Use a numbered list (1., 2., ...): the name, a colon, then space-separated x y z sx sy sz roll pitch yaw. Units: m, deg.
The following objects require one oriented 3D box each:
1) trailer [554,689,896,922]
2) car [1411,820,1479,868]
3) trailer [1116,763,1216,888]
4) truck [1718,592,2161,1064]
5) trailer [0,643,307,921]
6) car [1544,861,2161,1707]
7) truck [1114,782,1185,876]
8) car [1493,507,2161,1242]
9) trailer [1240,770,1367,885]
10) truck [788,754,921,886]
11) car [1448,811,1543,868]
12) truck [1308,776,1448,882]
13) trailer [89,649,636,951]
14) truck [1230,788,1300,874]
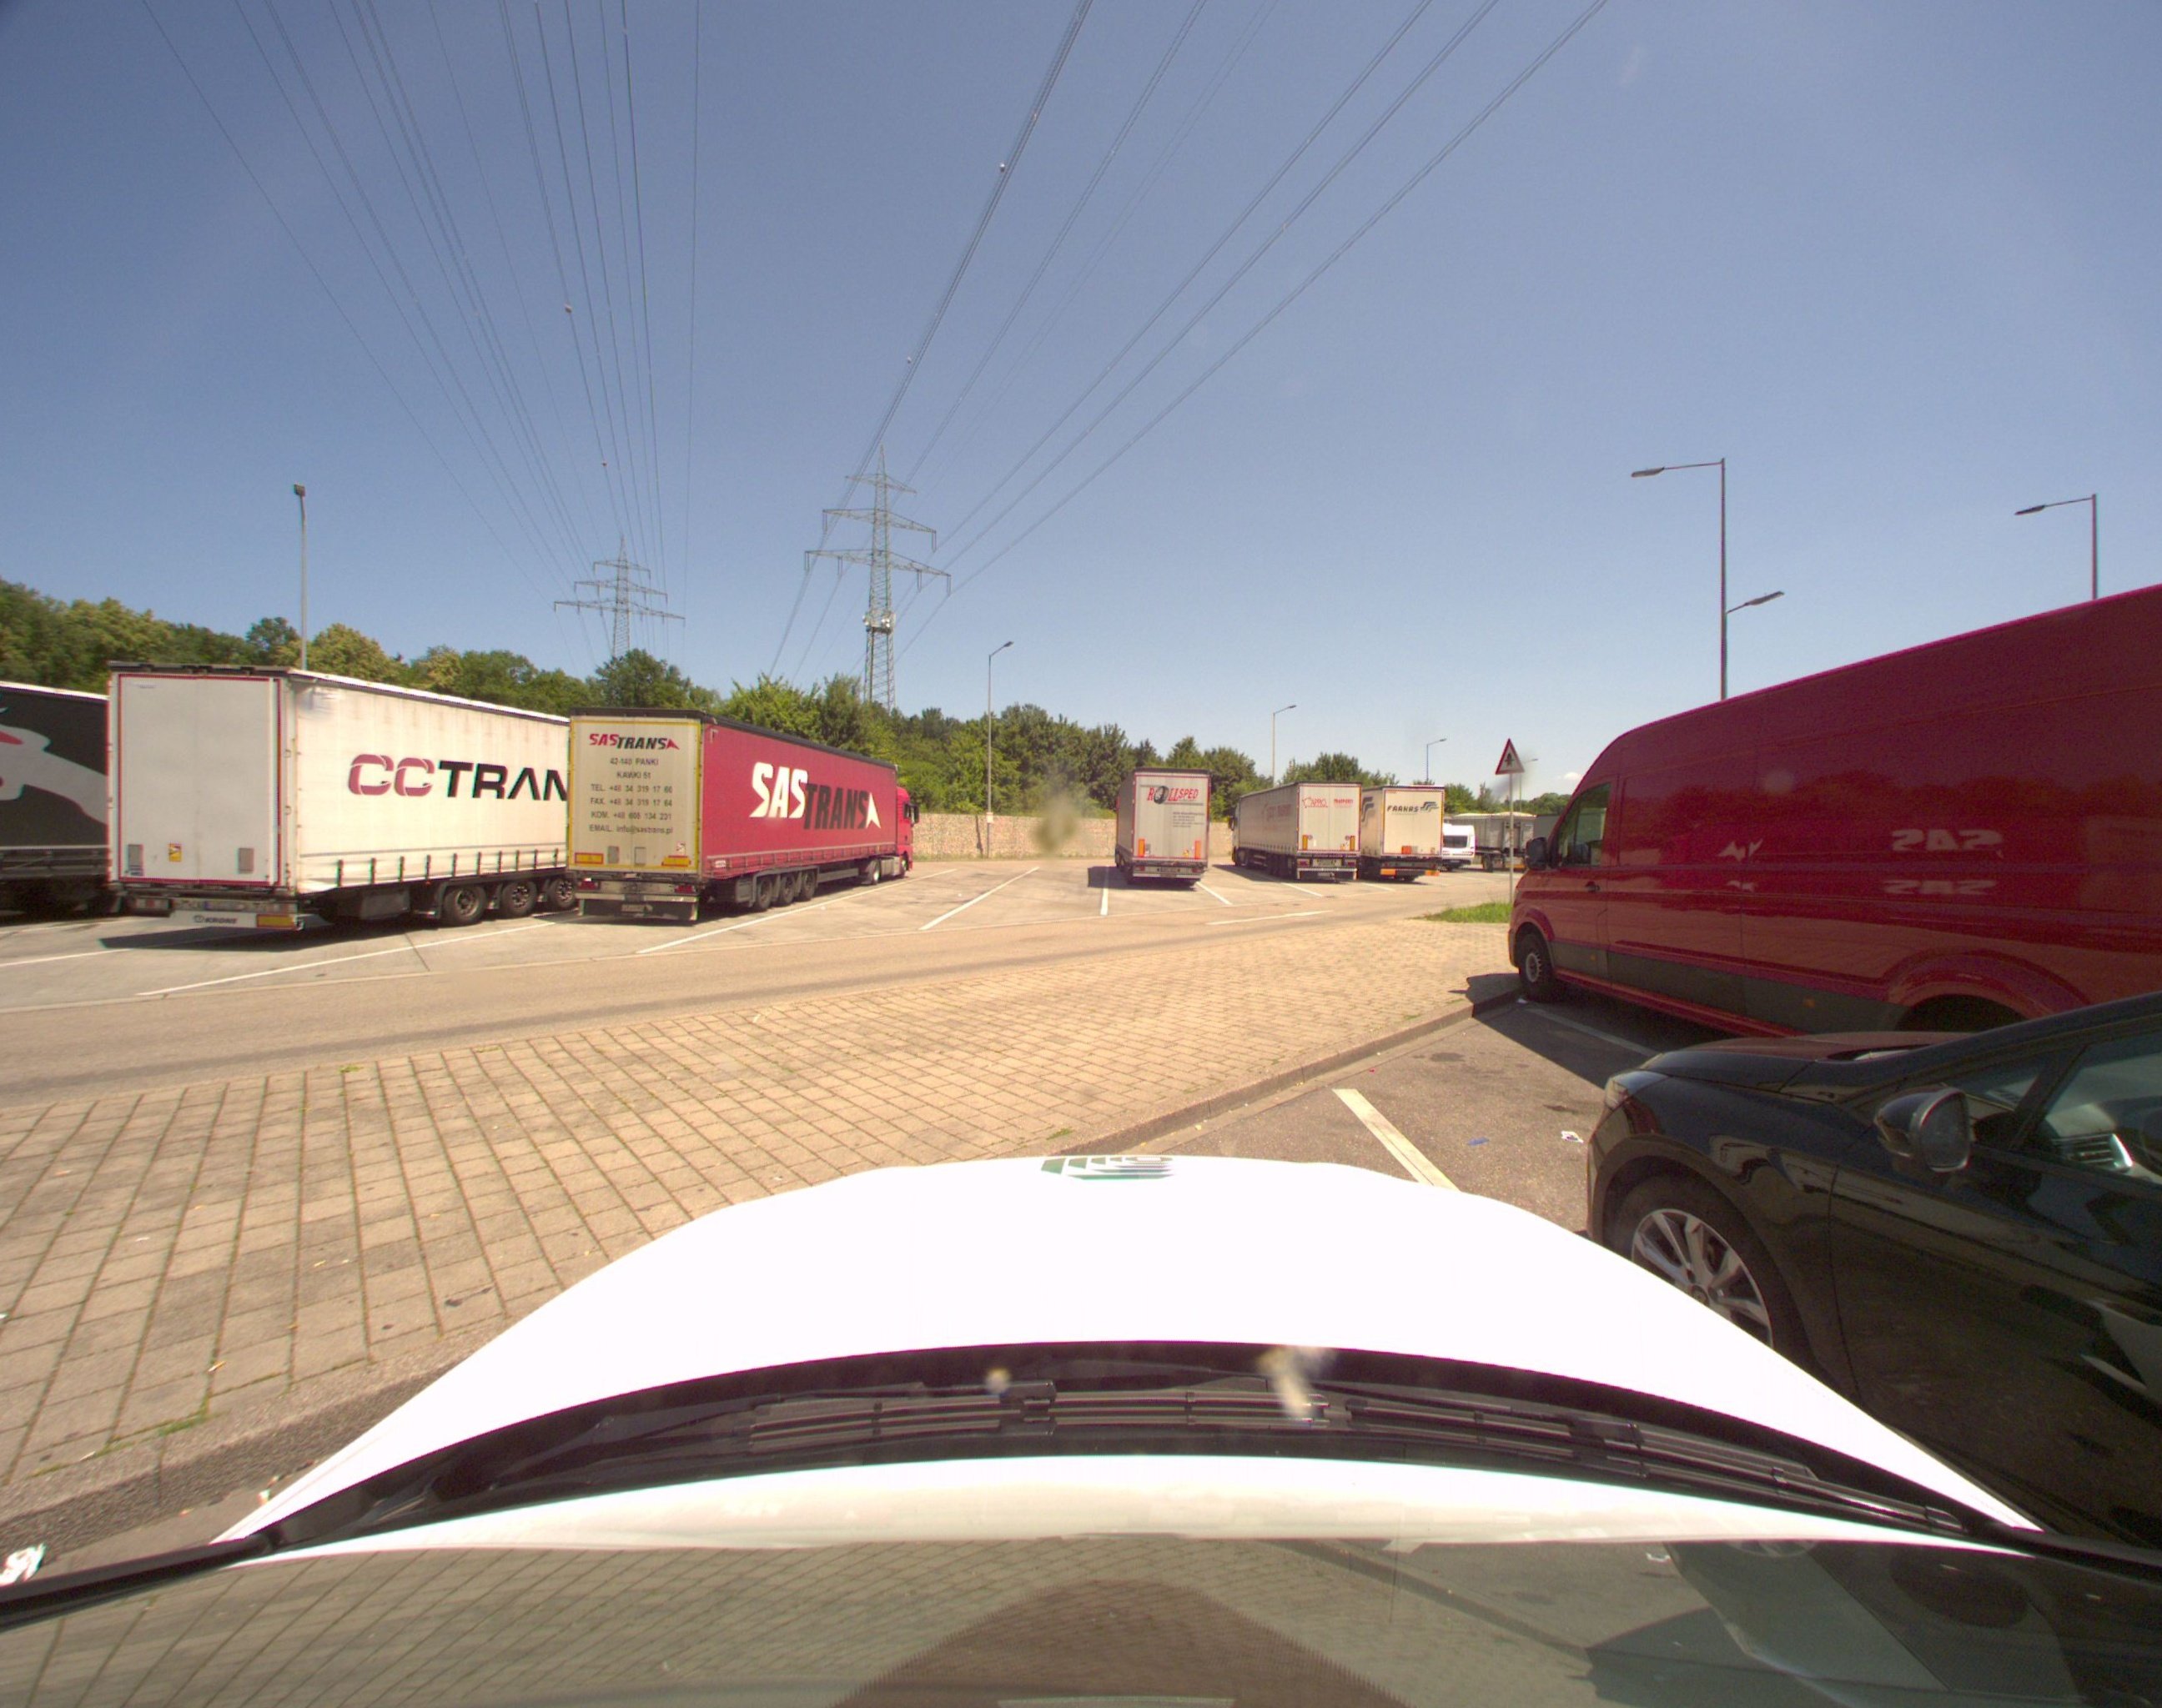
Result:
1. trailer: -7.993 -0.972 21.455 2.789 4.219 13.208 -1 1 2
2. car: 20.542 -0.528 46.136 2.107 2.599 4.001 0 -1 2
3. trailer: 2.993 -1.004 32.046 2.887 4.013 11.318 -1 1 1
4. truck: 7.808 -0.155 6.083 2.508 2.827 4.821 0 -1 3
5. trailer: -18.552 -1.160 14.906 2.668 4.444 6.151 -1 1 2
6. car: 2.519 0.745 0.930 1.772 1.457 3.682 0 -1 -3
7. truck: 3.053 -1.093 37.798 2.861 3.980 6.030 -1 1 1
8. car: 5.119 0.028 5.498 1.984 2.633 6.393 -1 1 5
9. trailer: 9.907 -1.119 38.102 2.672 4.452 12.833 -1 1 1
10. truck: -7.743 -1.118 28.712 2.795 4.133 5.896 -1 1 2
11. car: 24.139 -0.833 47.758 2.490 3.074 6.353 -1 1 2
12. truck: 13.538 -0.947 38.577 2.577 4.226 11.974 0 -1 2
13. trailer: -12.177 -0.807 15.377 2.744 4.152 8.291 0 1 2
14. truck: 10.080 -1.238 45.151 2.651 4.452 5.866 -1 1 2
